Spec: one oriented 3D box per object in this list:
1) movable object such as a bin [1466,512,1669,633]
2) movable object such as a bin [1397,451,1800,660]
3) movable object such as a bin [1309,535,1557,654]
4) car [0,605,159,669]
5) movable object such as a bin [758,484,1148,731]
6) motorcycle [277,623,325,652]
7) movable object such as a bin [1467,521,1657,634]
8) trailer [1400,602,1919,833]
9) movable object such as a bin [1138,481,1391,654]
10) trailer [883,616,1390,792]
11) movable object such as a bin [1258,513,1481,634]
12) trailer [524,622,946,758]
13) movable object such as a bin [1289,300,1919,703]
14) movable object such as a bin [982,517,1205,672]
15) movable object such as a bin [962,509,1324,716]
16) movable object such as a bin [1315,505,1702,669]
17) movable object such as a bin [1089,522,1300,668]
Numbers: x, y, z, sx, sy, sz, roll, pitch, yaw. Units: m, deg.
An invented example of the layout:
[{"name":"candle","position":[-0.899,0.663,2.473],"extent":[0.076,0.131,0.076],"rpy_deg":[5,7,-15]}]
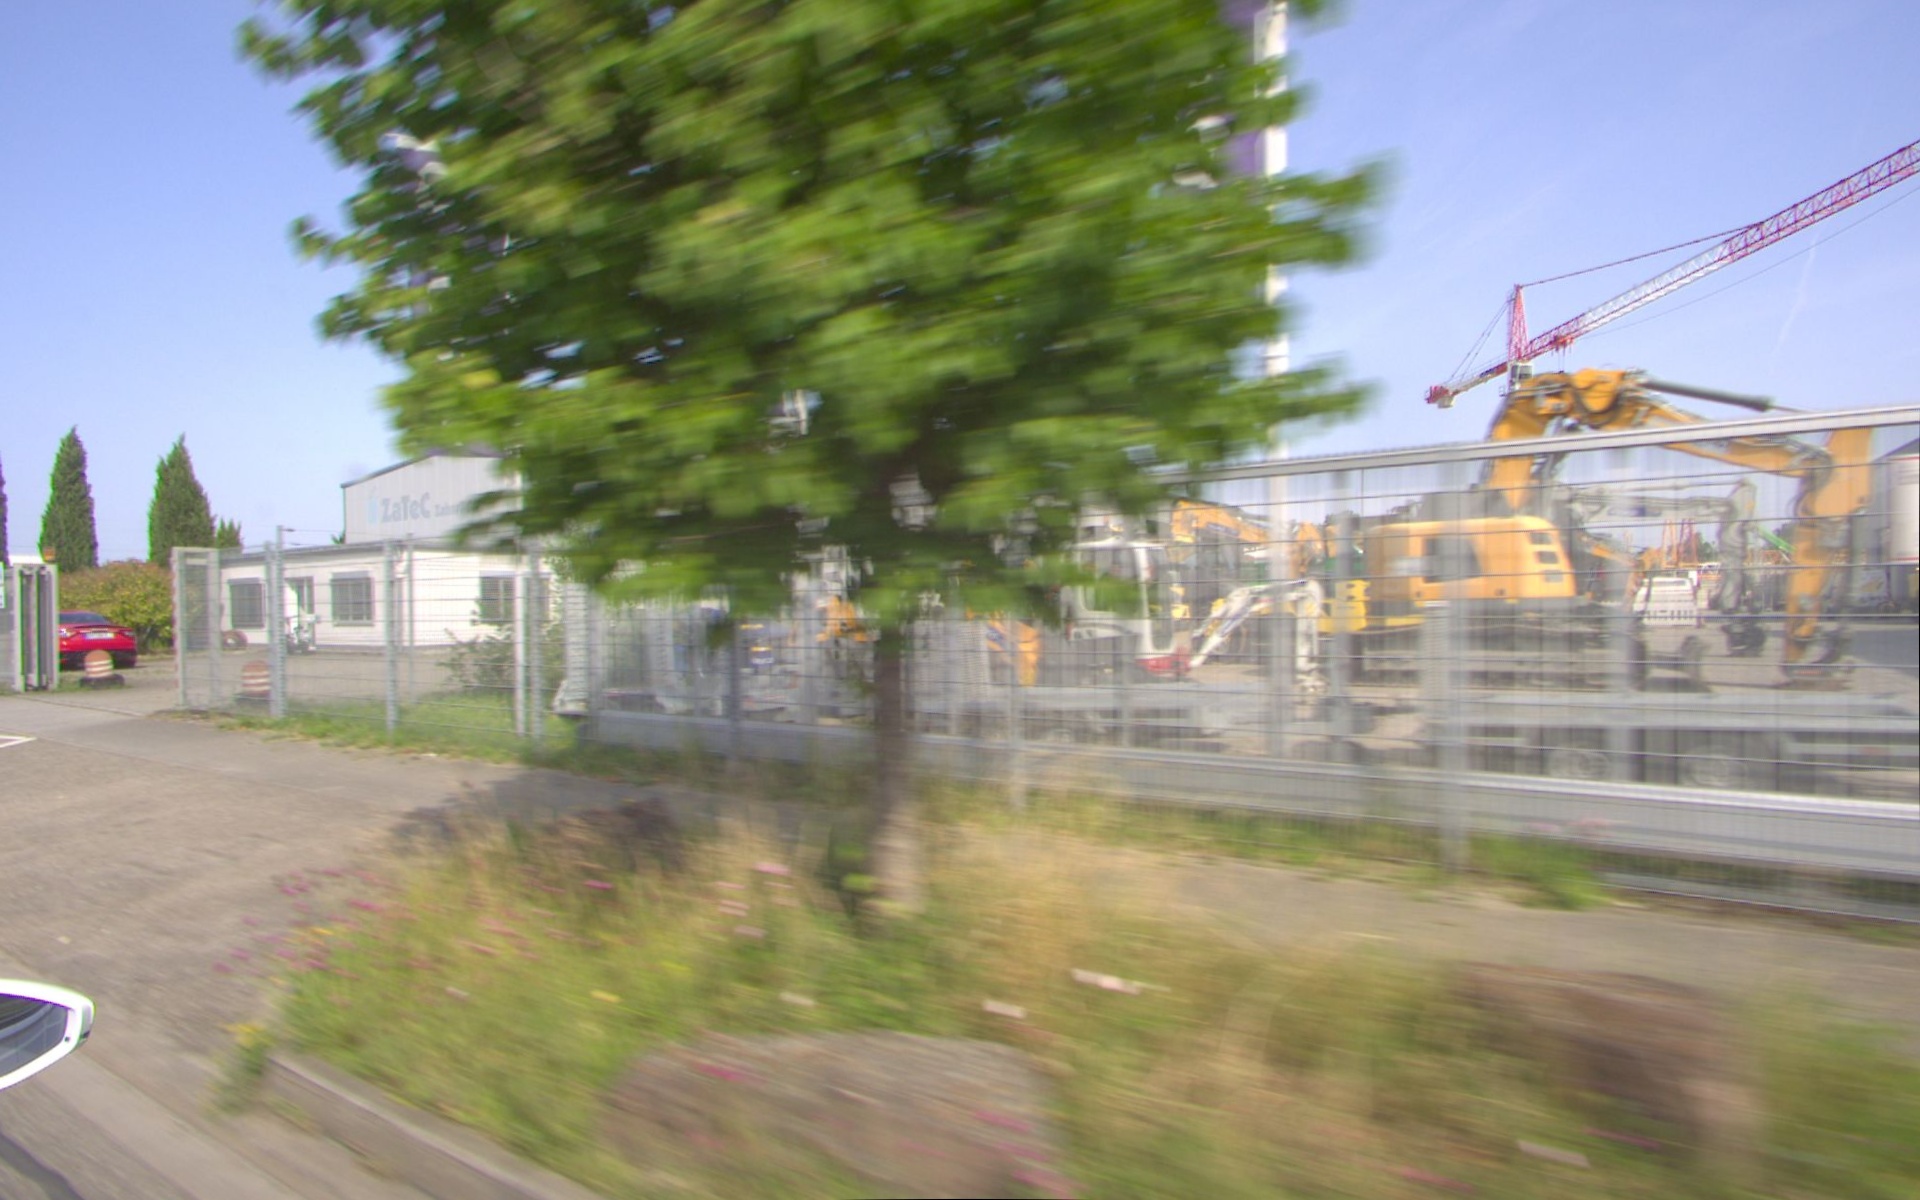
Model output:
[{"name":"movable object such as a bin","position":[21.276,-0.866,35.447],"extent":[5.932,3.982,2.714],"rpy_deg":[-1,1,29]},{"name":"movable object such as a bin","position":[13.741,-0.847,22.242],"extent":[7.103,3.982,2.912],"rpy_deg":[0,1,32]},{"name":"movable object such as a bin","position":[12.127,-0.132,25.846],"extent":[5.607,2.806,2.050],"rpy_deg":[0,1,32]},{"name":"car","position":[-21.182,0.822,23.691],"extent":[4.701,1.376,1.878],"rpy_deg":[-1,0,30]},{"name":"movable object such as a bin","position":[-0.218,0.113,13.497],"extent":[5.088,2.789,1.882],"rpy_deg":[-1,0,34]},{"name":"motorcycle","position":[-18.533,1.043,28.163],"extent":[1.560,0.762,0.533],"rpy_deg":[-1,2,33]},{"name":"movable object such as a bin","position":[22.504,-0.749,37.802],"extent":[5.932,3.982,2.714],"rpy_deg":[-1,1,29]},{"name":"trailer","position":[5.635,0.697,6.881],"extent":[4.502,1.327,1.988],"rpy_deg":[-2,-1,34]},{"name":"movable object such as a bin","position":[7.668,-0.703,25.395],"extent":[5.639,3.925,2.677],"rpy_deg":[-1,0,34]},{"name":"trailer","position":[1.560,0.795,9.269],"extent":[4.232,1.260,1.940],"rpy_deg":[-1,0,32]},{"name":"movable object such as a bin","position":[14.531,-0.814,35.691],"extent":[7.094,3.982,2.462],"rpy_deg":[-1,1,30]},{"name":"trailer","position":[-2.718,0.909,11.759],"extent":[4.726,1.260,2.122],"rpy_deg":[-1,0,32]},{"name":"movable object such as a bin","position":[9.350,-1.179,15.480],"extent":[7.562,4.871,3.309],"rpy_deg":[0,1,32]},{"name":"movable object such as a bin","position":[2.882,-0.091,21.931],"extent":[4.430,3.072,1.987],"rpy_deg":[-1,0,34]},{"name":"movable object such as a bin","position":[2.507,0.172,14.293],"extent":[4.703,2.491,1.985],"rpy_deg":[-1,0,37]},{"name":"movable object such as a bin","position":[10.502,-0.215,19.652],"extent":[6.256,2.752,2.694],"rpy_deg":[0,1,32]},{"name":"movable object such as a bin","position":[5.362,-0.088,23.058],"extent":[4.313,3.072,1.987],"rpy_deg":[-1,0,34]}]
